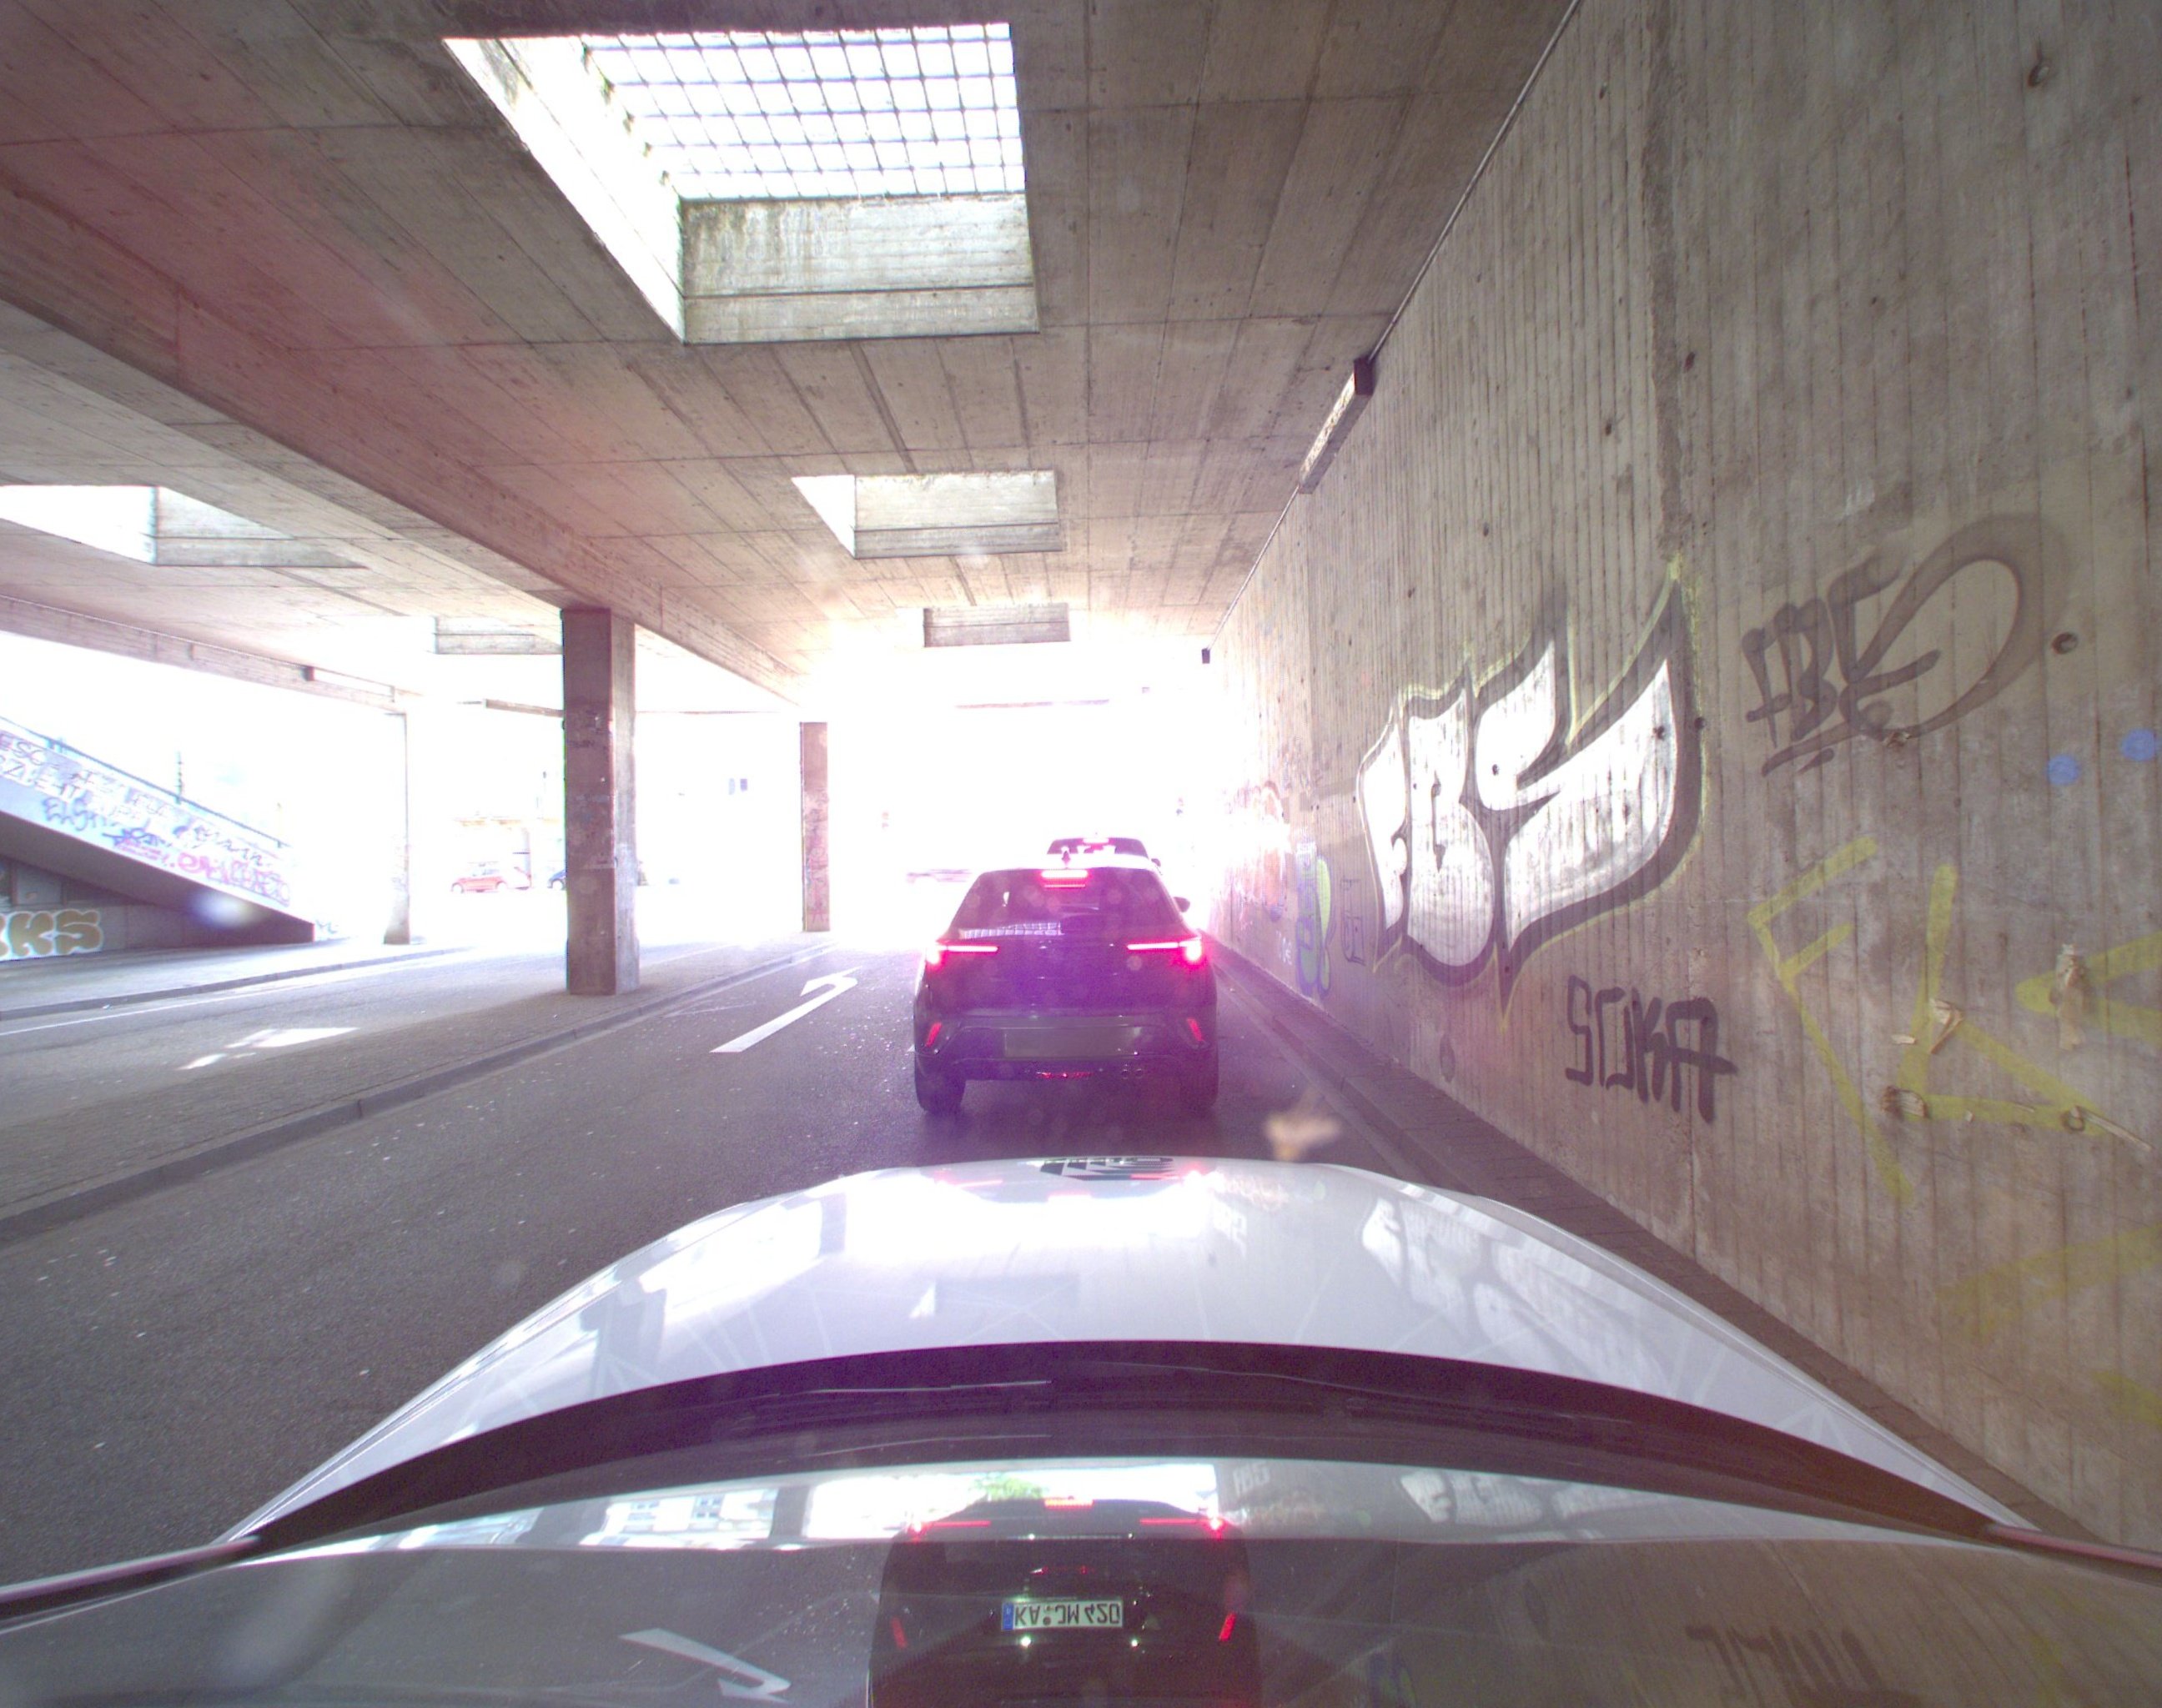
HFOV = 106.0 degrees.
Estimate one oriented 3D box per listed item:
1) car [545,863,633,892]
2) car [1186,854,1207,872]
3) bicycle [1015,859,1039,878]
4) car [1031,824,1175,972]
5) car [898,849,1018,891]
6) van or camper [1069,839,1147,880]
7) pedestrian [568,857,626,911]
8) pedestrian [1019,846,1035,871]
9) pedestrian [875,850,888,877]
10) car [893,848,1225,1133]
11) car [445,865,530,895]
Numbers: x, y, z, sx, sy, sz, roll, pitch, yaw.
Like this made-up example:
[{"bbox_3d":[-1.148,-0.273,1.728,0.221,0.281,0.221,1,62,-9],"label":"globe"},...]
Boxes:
[{"bbox_3d":[-27.287,1.289,45.268,3.742,1.508,1.752,-2,0,0],"label":"car"},{"bbox_3d":[11.602,0.862,81.913,1.982,1.641,4.603,-2,0,8],"label":"car"},{"bbox_3d":[-3.412,0.902,51.553,0.730,1.130,2.036,-2,0,19],"label":"bicycle"},{"bbox_3d":[0.340,0.543,12.166,1.779,1.833,3.962,-1,0,2],"label":"car"},{"bbox_3d":[-5.077,0.621,33.424,4.724,1.534,1.991,-1,0,-13],"label":"car"},{"bbox_3d":[1.484,0.285,43.534,3.854,2.013,2.005,-2,0,9],"label":"van or camper"},{"bbox_3d":[-16.042,0.986,27.011,1.103,1.737,1.146,-1,0,15],"label":"pedestrian"},{"bbox_3d":[-3.396,0.267,51.641,0.729,1.585,0.894,0,-1,18],"label":"pedestrian"},{"bbox_3d":[-12.533,0.610,51.228,0.620,1.705,0.724,0,-1,5],"label":"pedestrian"},{"bbox_3d":[-0.040,0.717,6.299,1.746,1.498,4.002,0,0,2],"label":"car"},{"bbox_3d":[-32.844,1.441,45.103,3.519,1.506,1.563,-1,0,2],"label":"car"}]
